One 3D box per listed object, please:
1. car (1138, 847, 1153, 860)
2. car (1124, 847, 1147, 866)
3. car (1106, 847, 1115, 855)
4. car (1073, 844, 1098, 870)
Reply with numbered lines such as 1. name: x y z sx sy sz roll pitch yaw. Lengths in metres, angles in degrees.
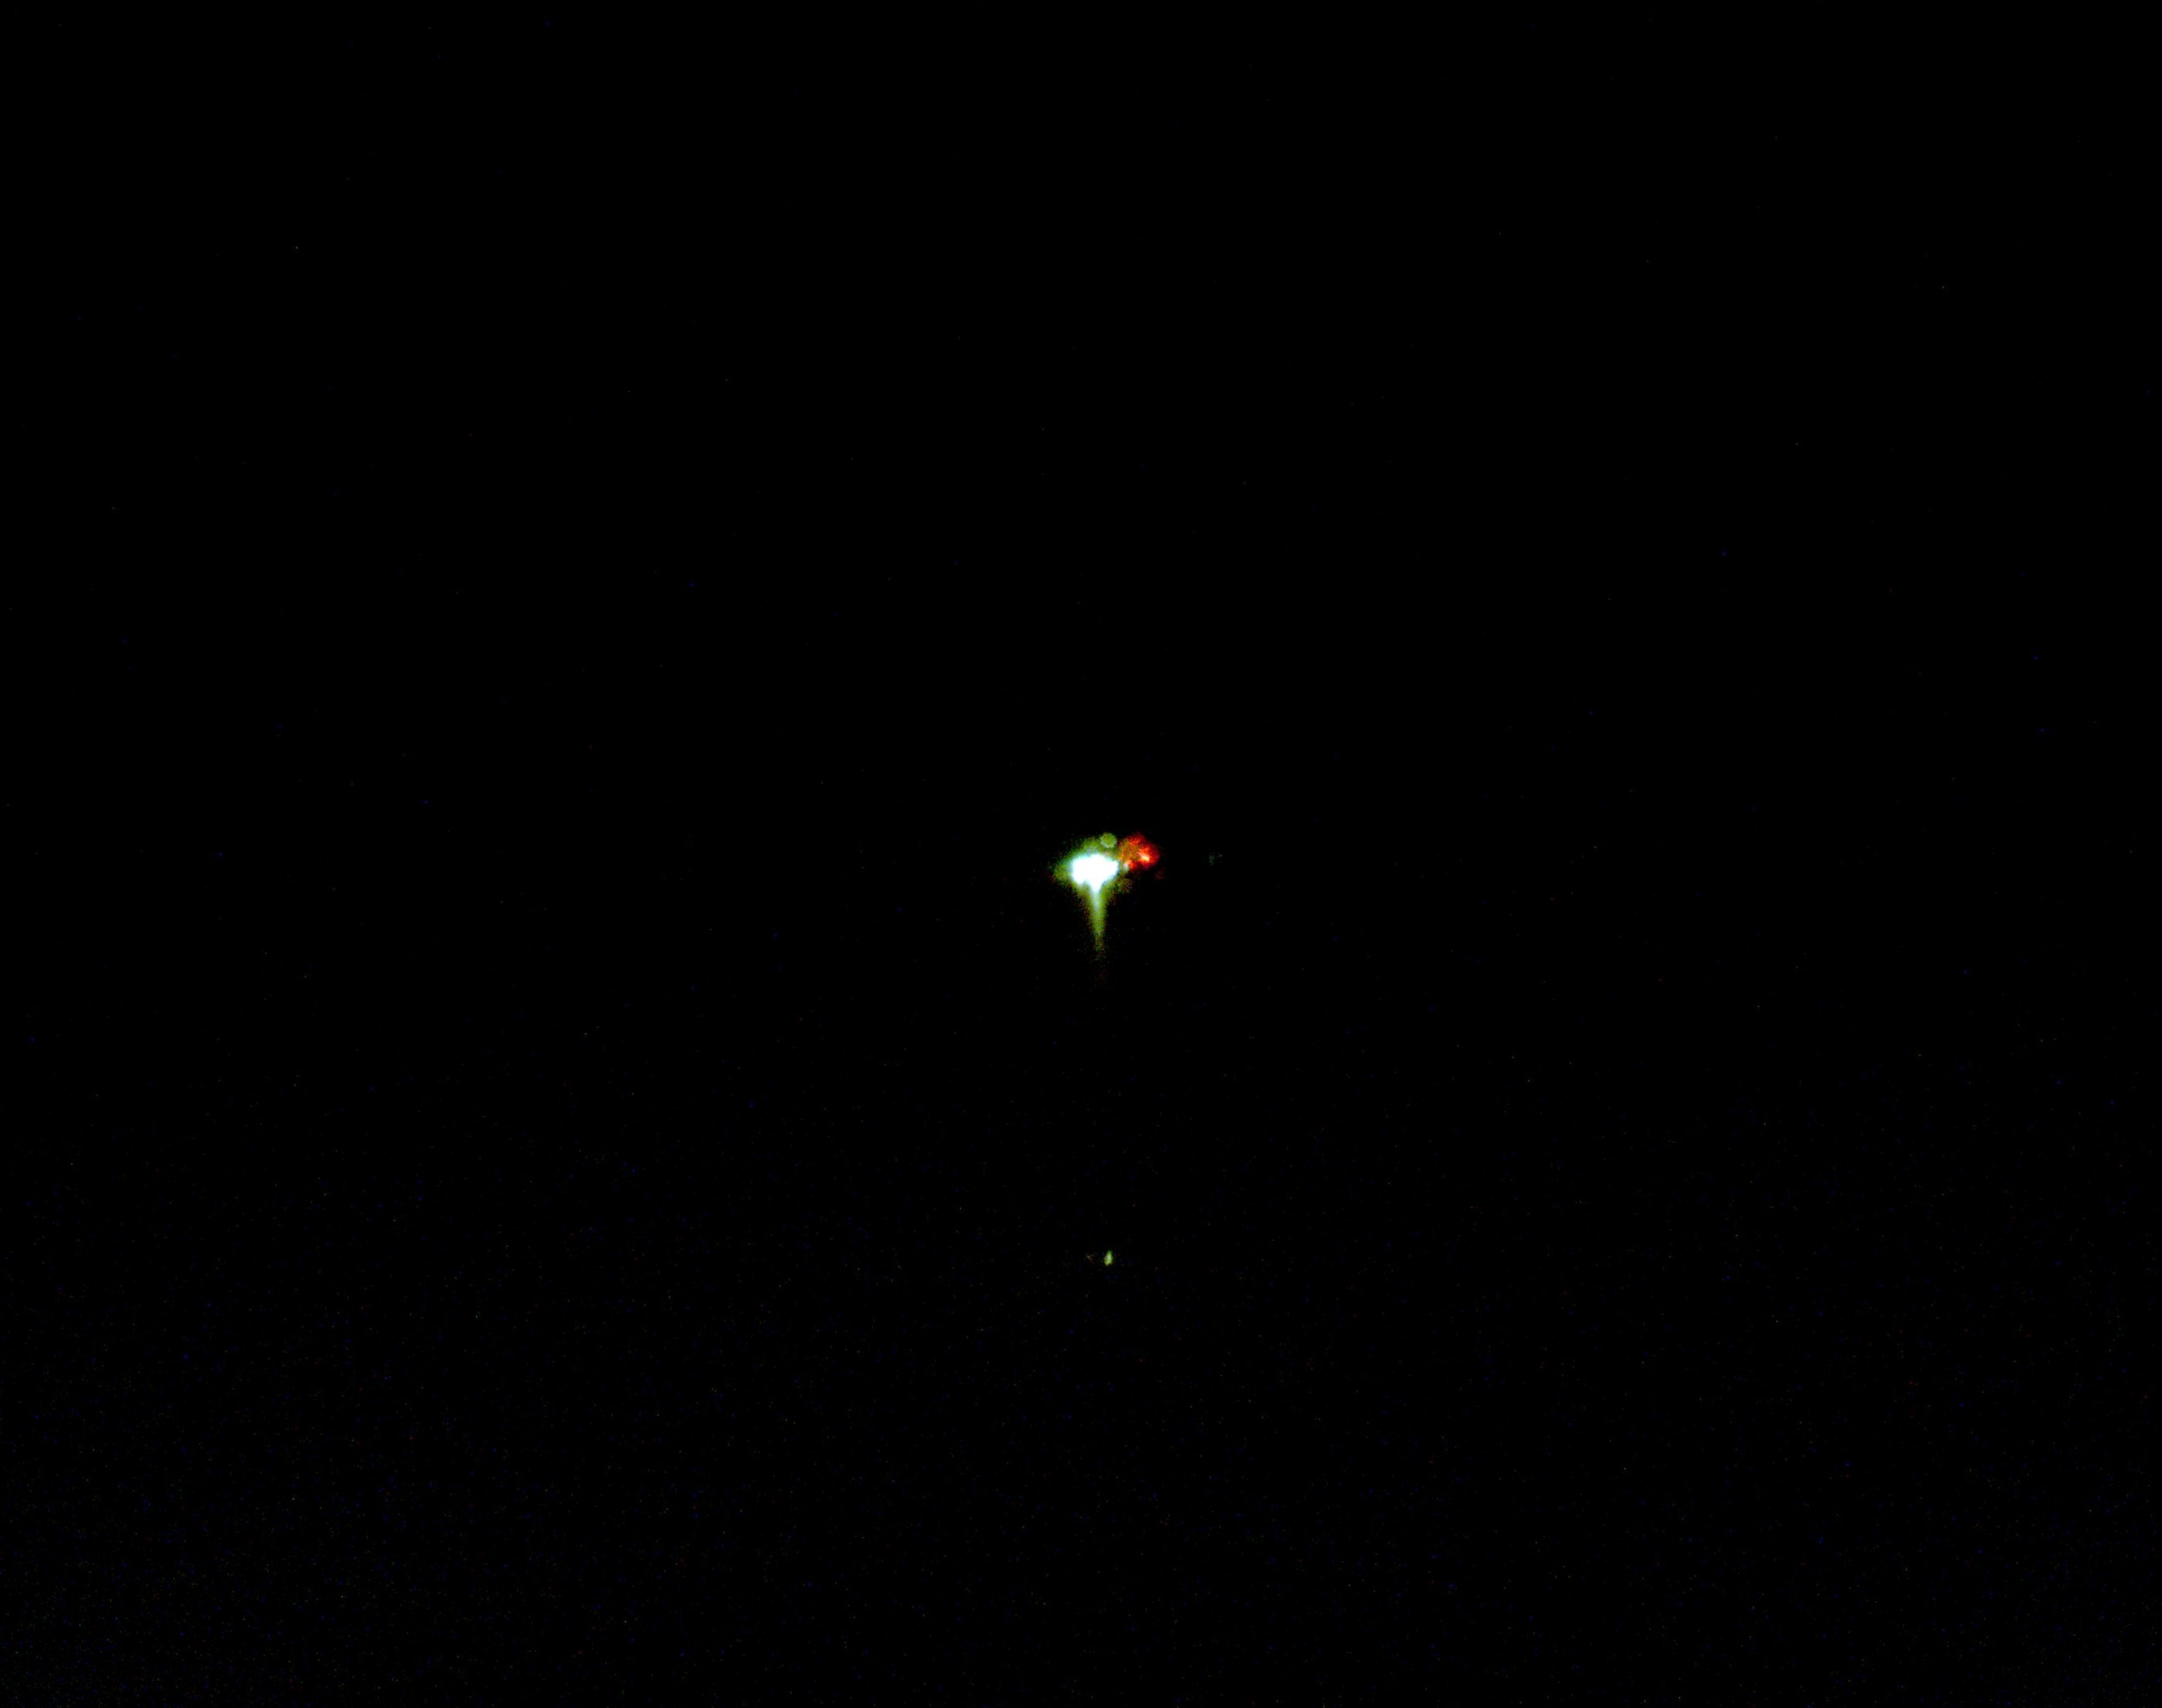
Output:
1. car: 9.630 -0.126 114.319 1.998 1.849 4.441 -3 1 2
2. car: 5.506 0.220 76.980 1.951 1.718 3.999 -3 1 1
3. car: 7.068 -0.782 181.166 2.112 1.702 4.000 -3 1 1
4. car: 0.447 0.222 65.211 1.998 2.002 4.000 -2 1 2
